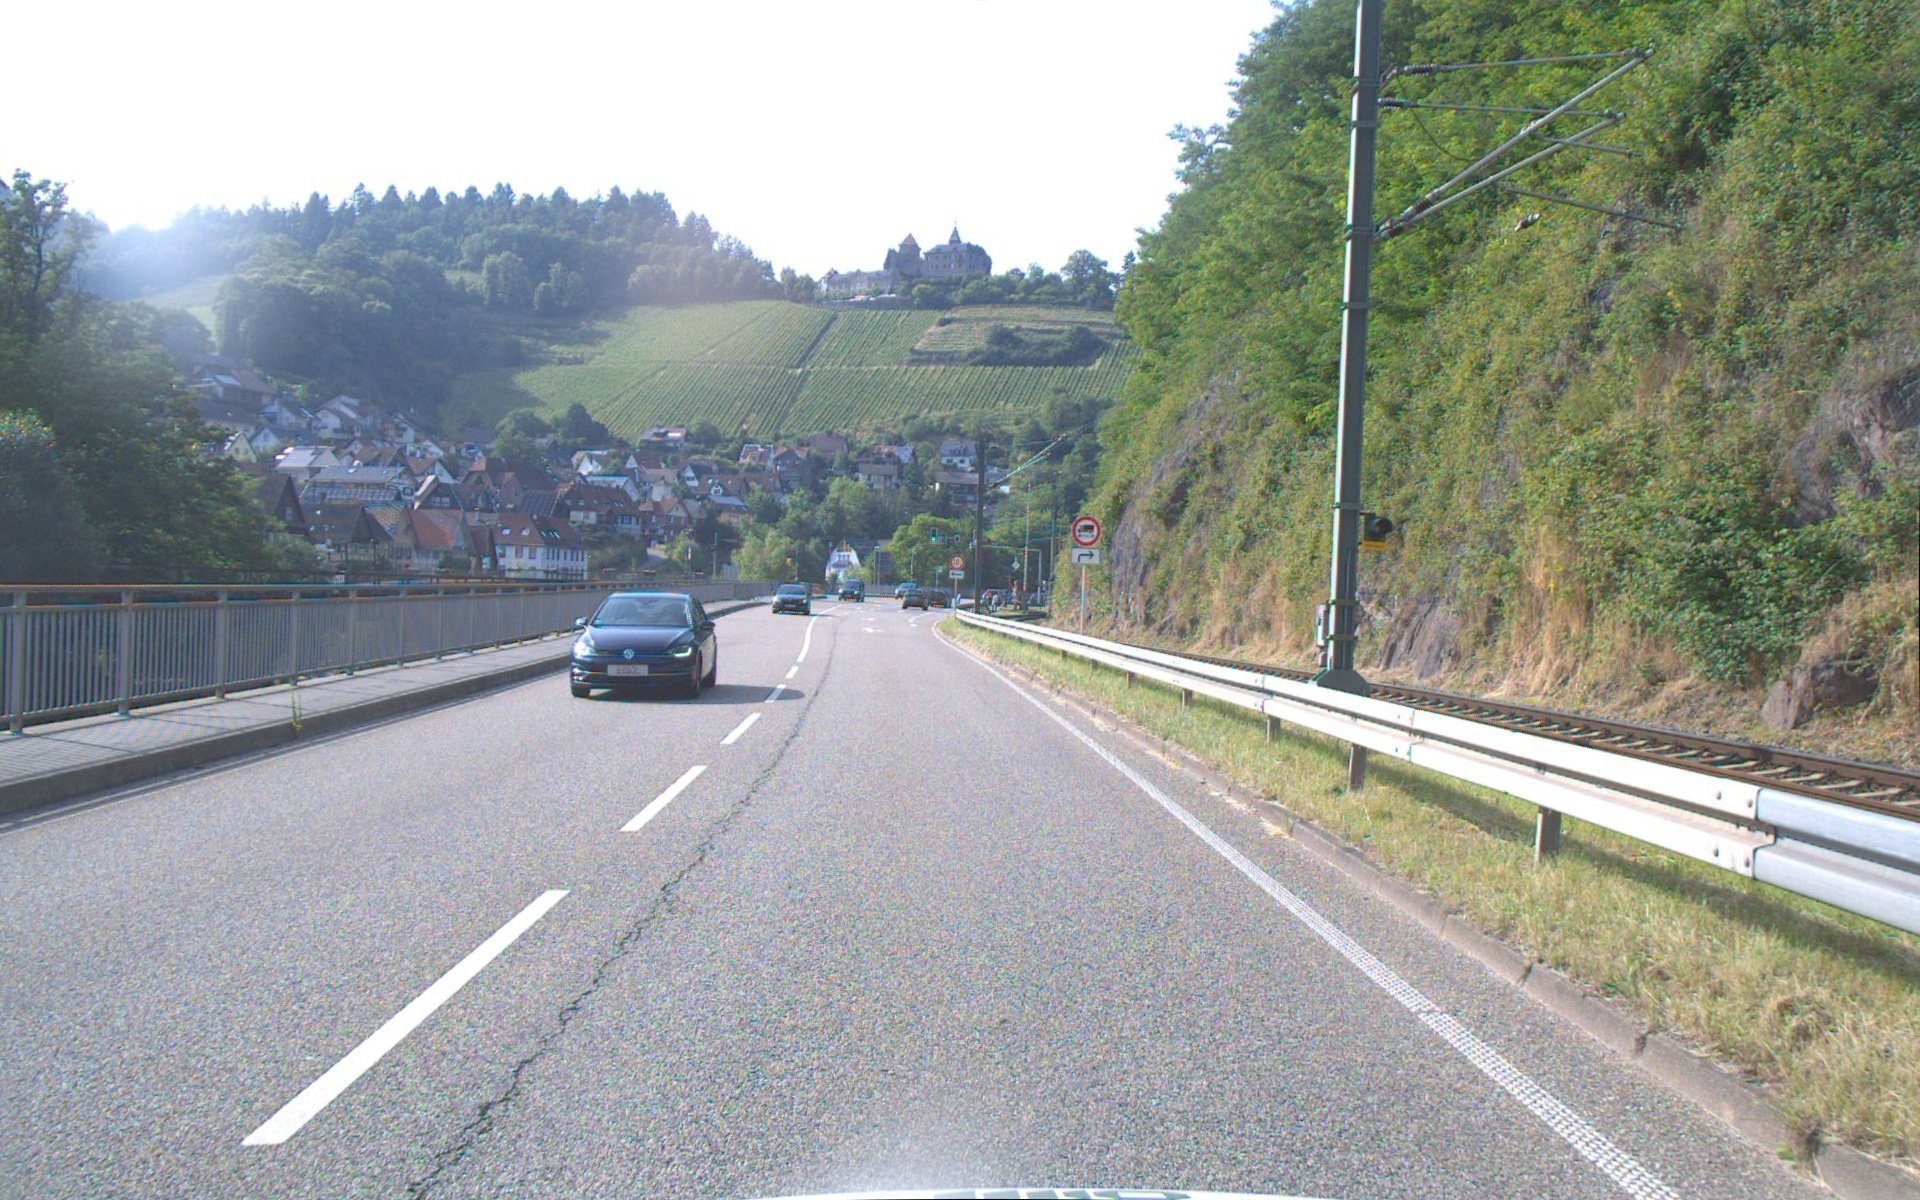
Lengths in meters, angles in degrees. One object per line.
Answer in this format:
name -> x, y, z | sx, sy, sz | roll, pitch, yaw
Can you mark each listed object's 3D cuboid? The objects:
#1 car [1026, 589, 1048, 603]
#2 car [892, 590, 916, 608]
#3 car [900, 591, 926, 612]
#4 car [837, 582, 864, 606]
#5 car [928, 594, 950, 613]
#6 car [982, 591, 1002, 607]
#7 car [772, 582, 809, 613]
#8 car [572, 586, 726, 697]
car -> 8.929, -0.469, 191.331 | 1.770, 1.433, 3.776 | 1, -1, 15
car -> -5.535, -0.106, 163.841 | 1.778, 1.675, 4.615 | 3, 0, 5
car -> -3.420, 0.122, 120.440 | 1.693, 1.482, 3.410 | 2, -1, 0
car -> -9.068, -0.501, 136.919 | 1.754, 1.859, 4.829 | 2, 0, 1
car -> -1.741, 0.304, 140.163 | 1.802, 1.485, 3.712 | 2, -1, 0
car -> 3.244, -0.088, 169.184 | 1.768, 1.478, 3.649 | 1, -1, 5
car -> -8.333, -0.129, 81.642 | 1.686, 1.460, 4.336 | 1, 0, -4
car -> -4.397, 0.551, 23.934 | 1.669, 1.456, 4.071 | 1, 0, -3
